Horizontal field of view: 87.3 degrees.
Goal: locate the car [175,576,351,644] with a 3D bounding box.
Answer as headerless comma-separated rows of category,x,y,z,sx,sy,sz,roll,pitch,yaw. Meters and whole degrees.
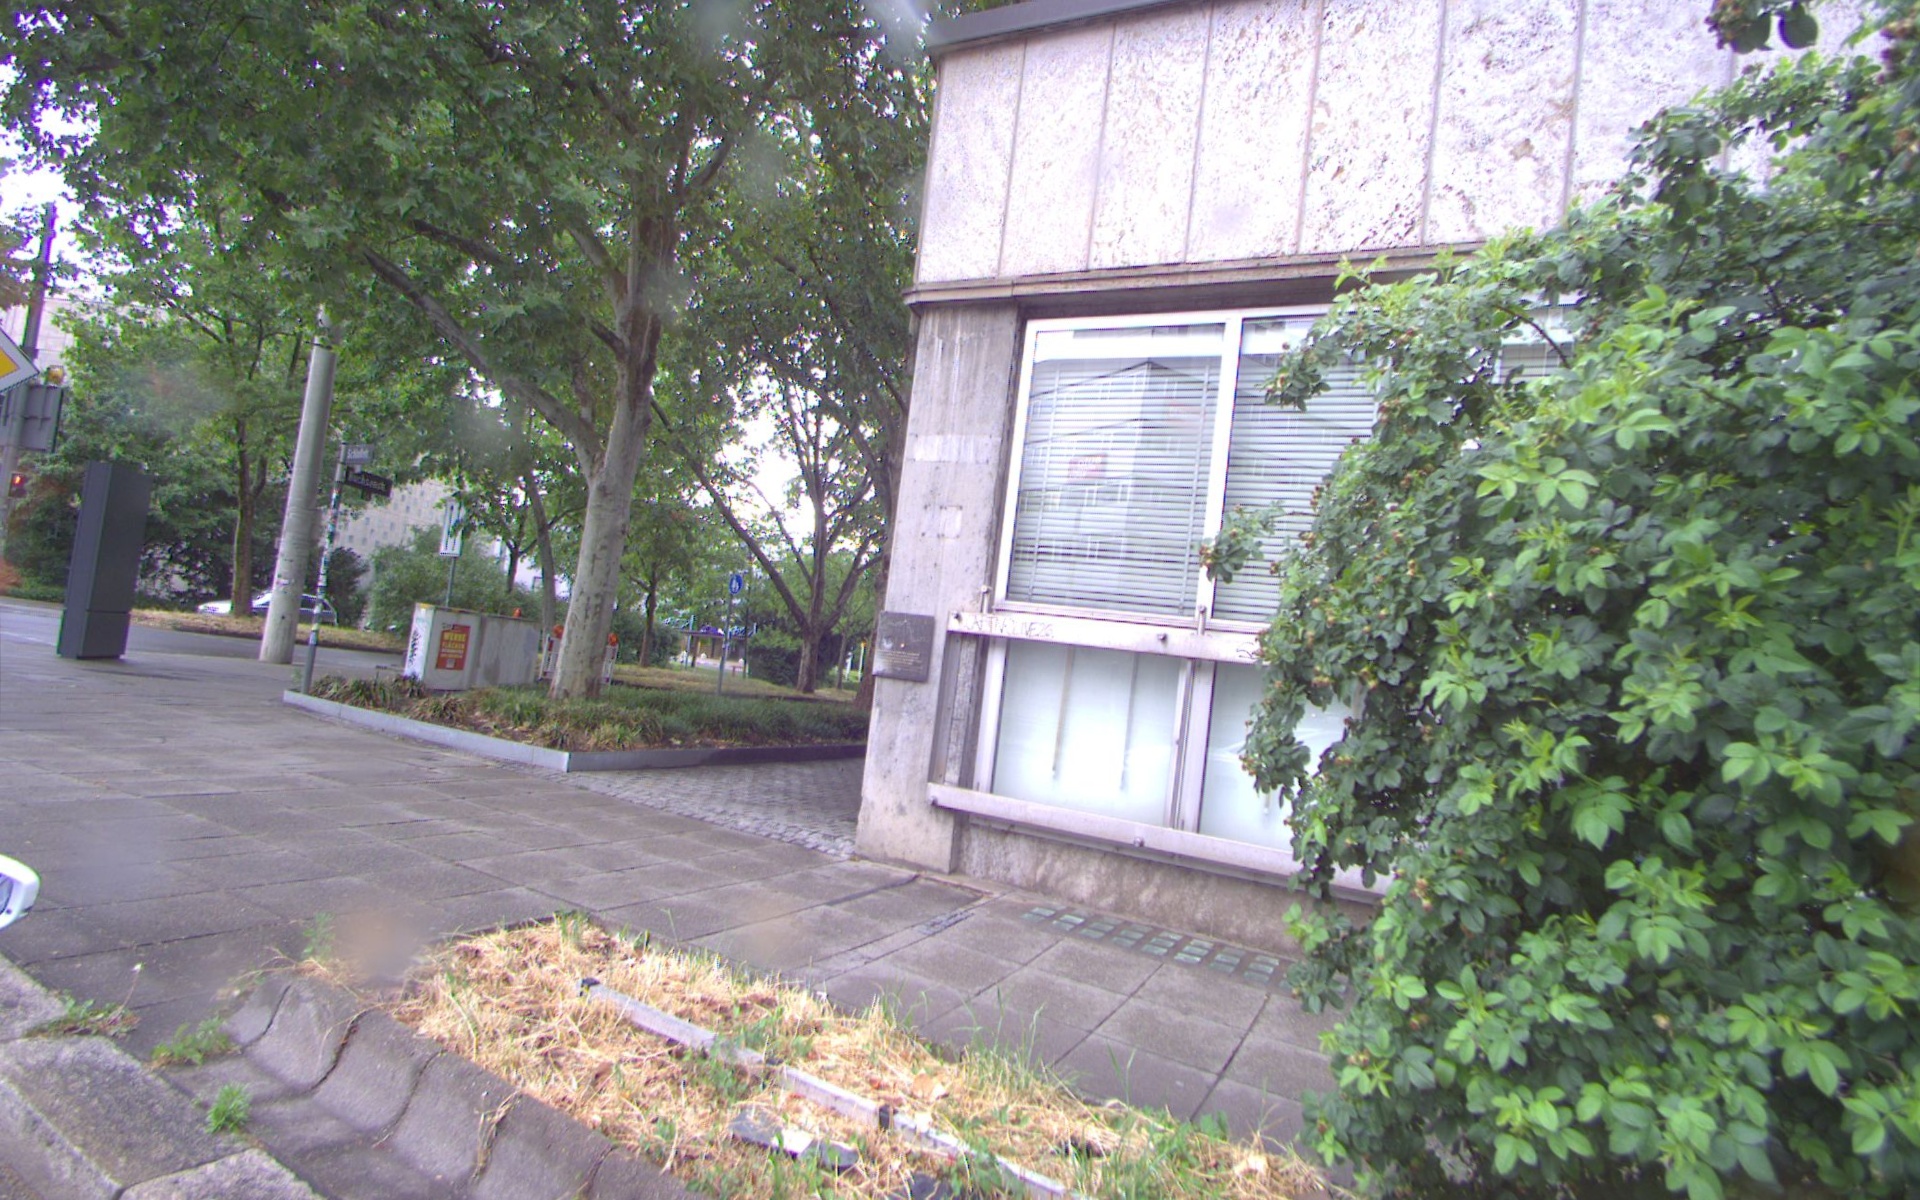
car,-22.016,0.362,31.950,1.964,1.456,4.007,6,-6,25
